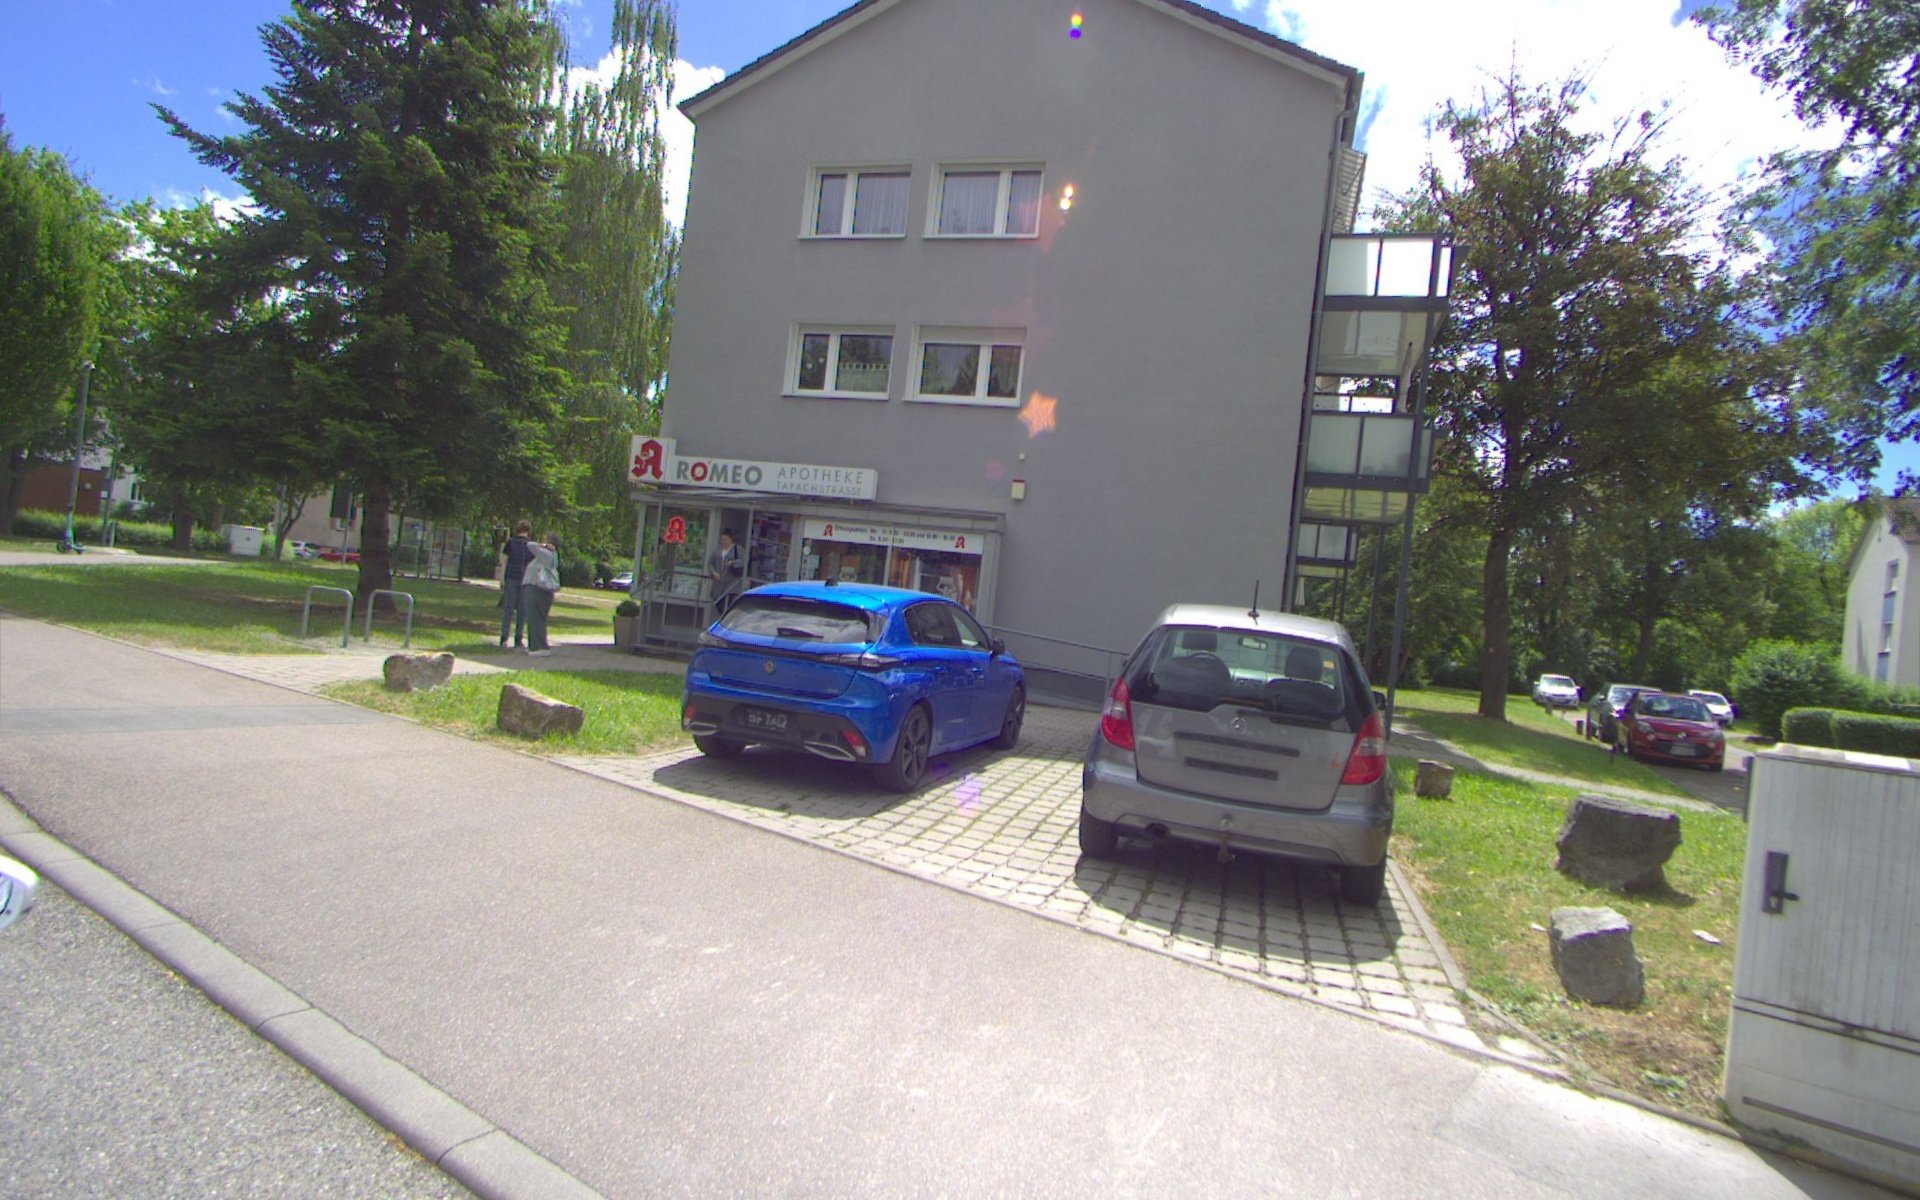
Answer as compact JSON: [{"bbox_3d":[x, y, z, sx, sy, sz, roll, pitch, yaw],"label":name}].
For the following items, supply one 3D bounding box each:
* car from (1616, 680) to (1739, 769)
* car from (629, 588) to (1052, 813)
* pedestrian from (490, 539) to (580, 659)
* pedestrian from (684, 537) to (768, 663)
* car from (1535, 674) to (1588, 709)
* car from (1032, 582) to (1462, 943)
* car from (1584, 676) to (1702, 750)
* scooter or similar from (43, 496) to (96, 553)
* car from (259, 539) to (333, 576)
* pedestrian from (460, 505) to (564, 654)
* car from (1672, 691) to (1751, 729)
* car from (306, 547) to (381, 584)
[{"bbox_3d":[15.362,2.661,21.715,1.702,1.519,3.878,6,-3,31],"label":"car"},{"bbox_3d":[-0.681,0.662,8.935,1.962,1.260,4.494,7,2,17],"label":"car"},{"bbox_3d":[-5.848,-0.005,13.862,0.678,1.549,0.744,6,1,22],"label":"pedestrian"},{"bbox_3d":[-3.922,0.009,16.932,0.924,1.980,0.843,6,1,11],"label":"pedestrian"},{"bbox_3d":[28.271,4.338,47.393,1.966,1.328,3.996,6,-3,30],"label":"car"},{"bbox_3d":[2.027,0.822,6.998,1.994,1.577,3.738,7,1,19],"label":"car"},{"bbox_3d":[18.011,2.927,26.722,1.884,1.522,3.996,7,0,26],"label":"car"},{"bbox_3d":[-22.636,-1.897,25.594,0.479,1.360,1.381,5,1,-22],"label":"scooter or similar"},{"bbox_3d":[-46.207,-2.974,70.064,3.924,1.964,2.003,7,-2,15],"label":"car"},{"bbox_3d":[-6.532,-0.292,14.685,1.027,2.039,0.656,6,1,18],"label":"pedestrian"},{"bbox_3d":[33.295,4.869,44.674,1.965,1.328,4.000,6,-3,26],"label":"car"},{"bbox_3d":[-42.195,-2.363,68.847,3.924,1.964,2.021,7,-2,15],"label":"car"}]
